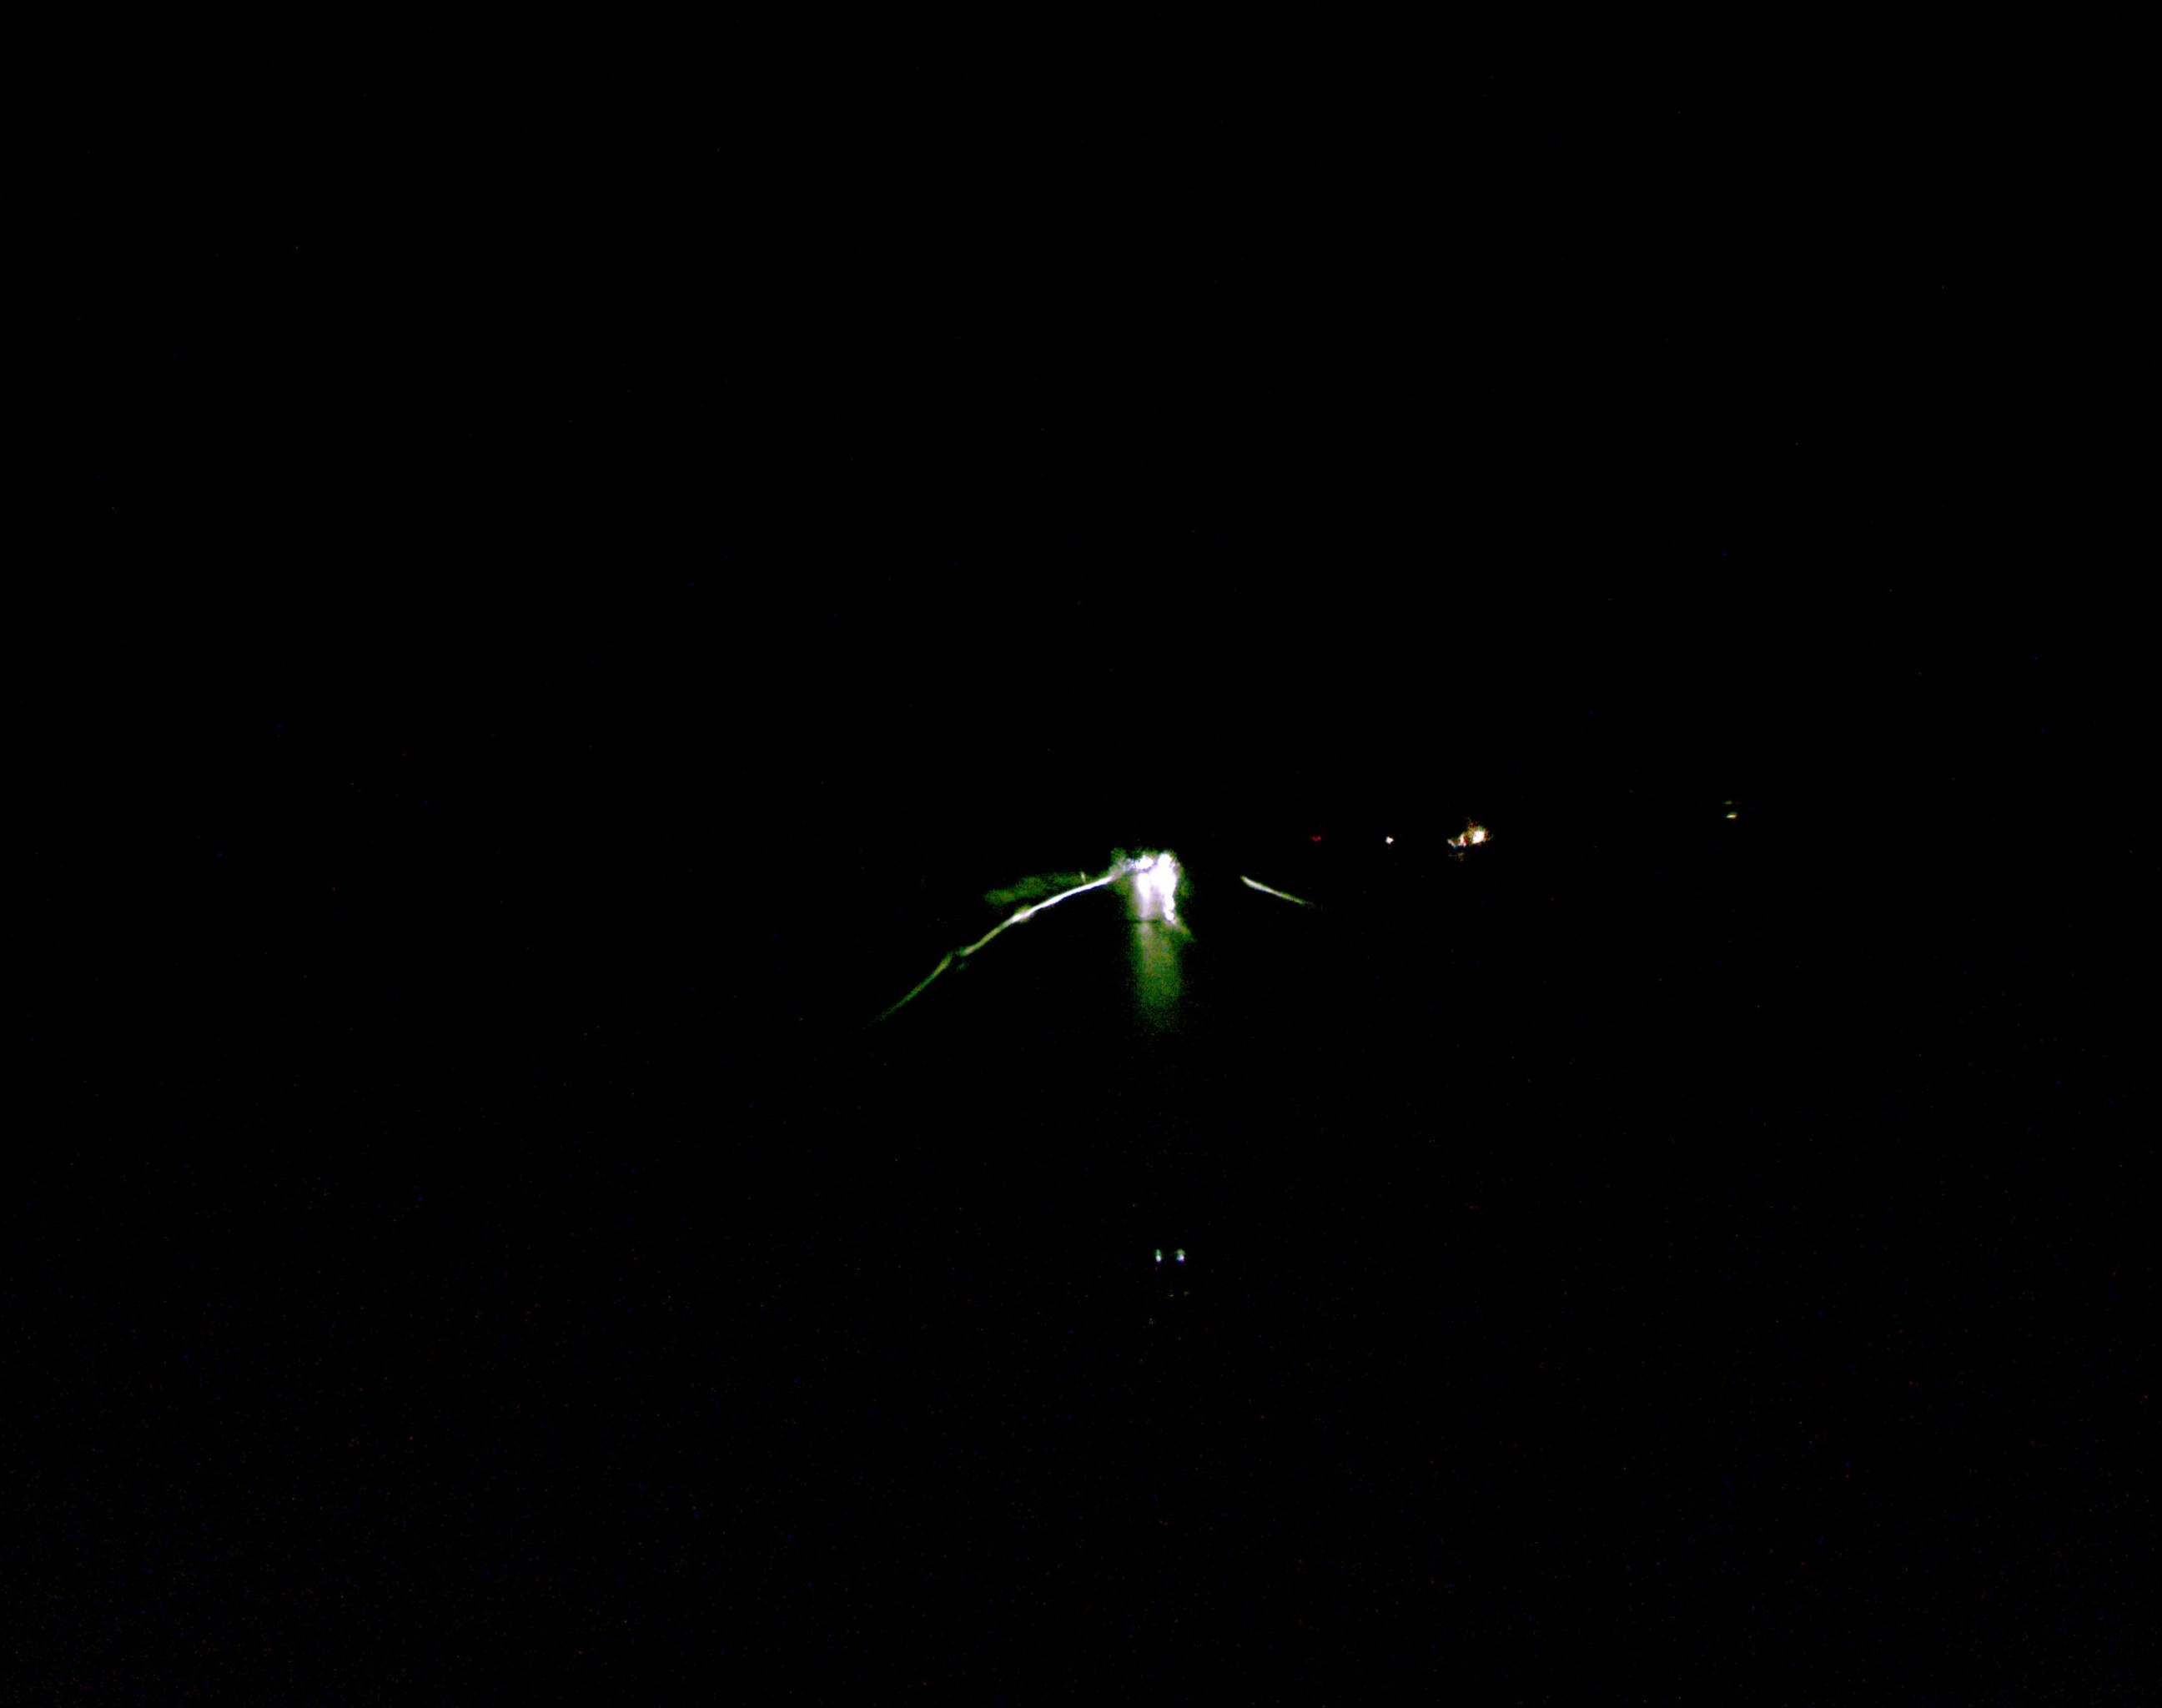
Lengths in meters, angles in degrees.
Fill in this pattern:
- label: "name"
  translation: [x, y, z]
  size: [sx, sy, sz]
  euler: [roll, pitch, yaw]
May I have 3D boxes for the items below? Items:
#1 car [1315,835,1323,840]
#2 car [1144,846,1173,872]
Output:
- label: "car"
  translation: [69.586, -4.844, 221.952]
  size: [1.736, 1.534, 4.005]
  euler: [-3, 1, 22]
- label: "car"
  translation: [5.796, 0.354, 56.519]
  size: [1.958, 1.712, 4.001]
  euler: [-2, 1, 8]
